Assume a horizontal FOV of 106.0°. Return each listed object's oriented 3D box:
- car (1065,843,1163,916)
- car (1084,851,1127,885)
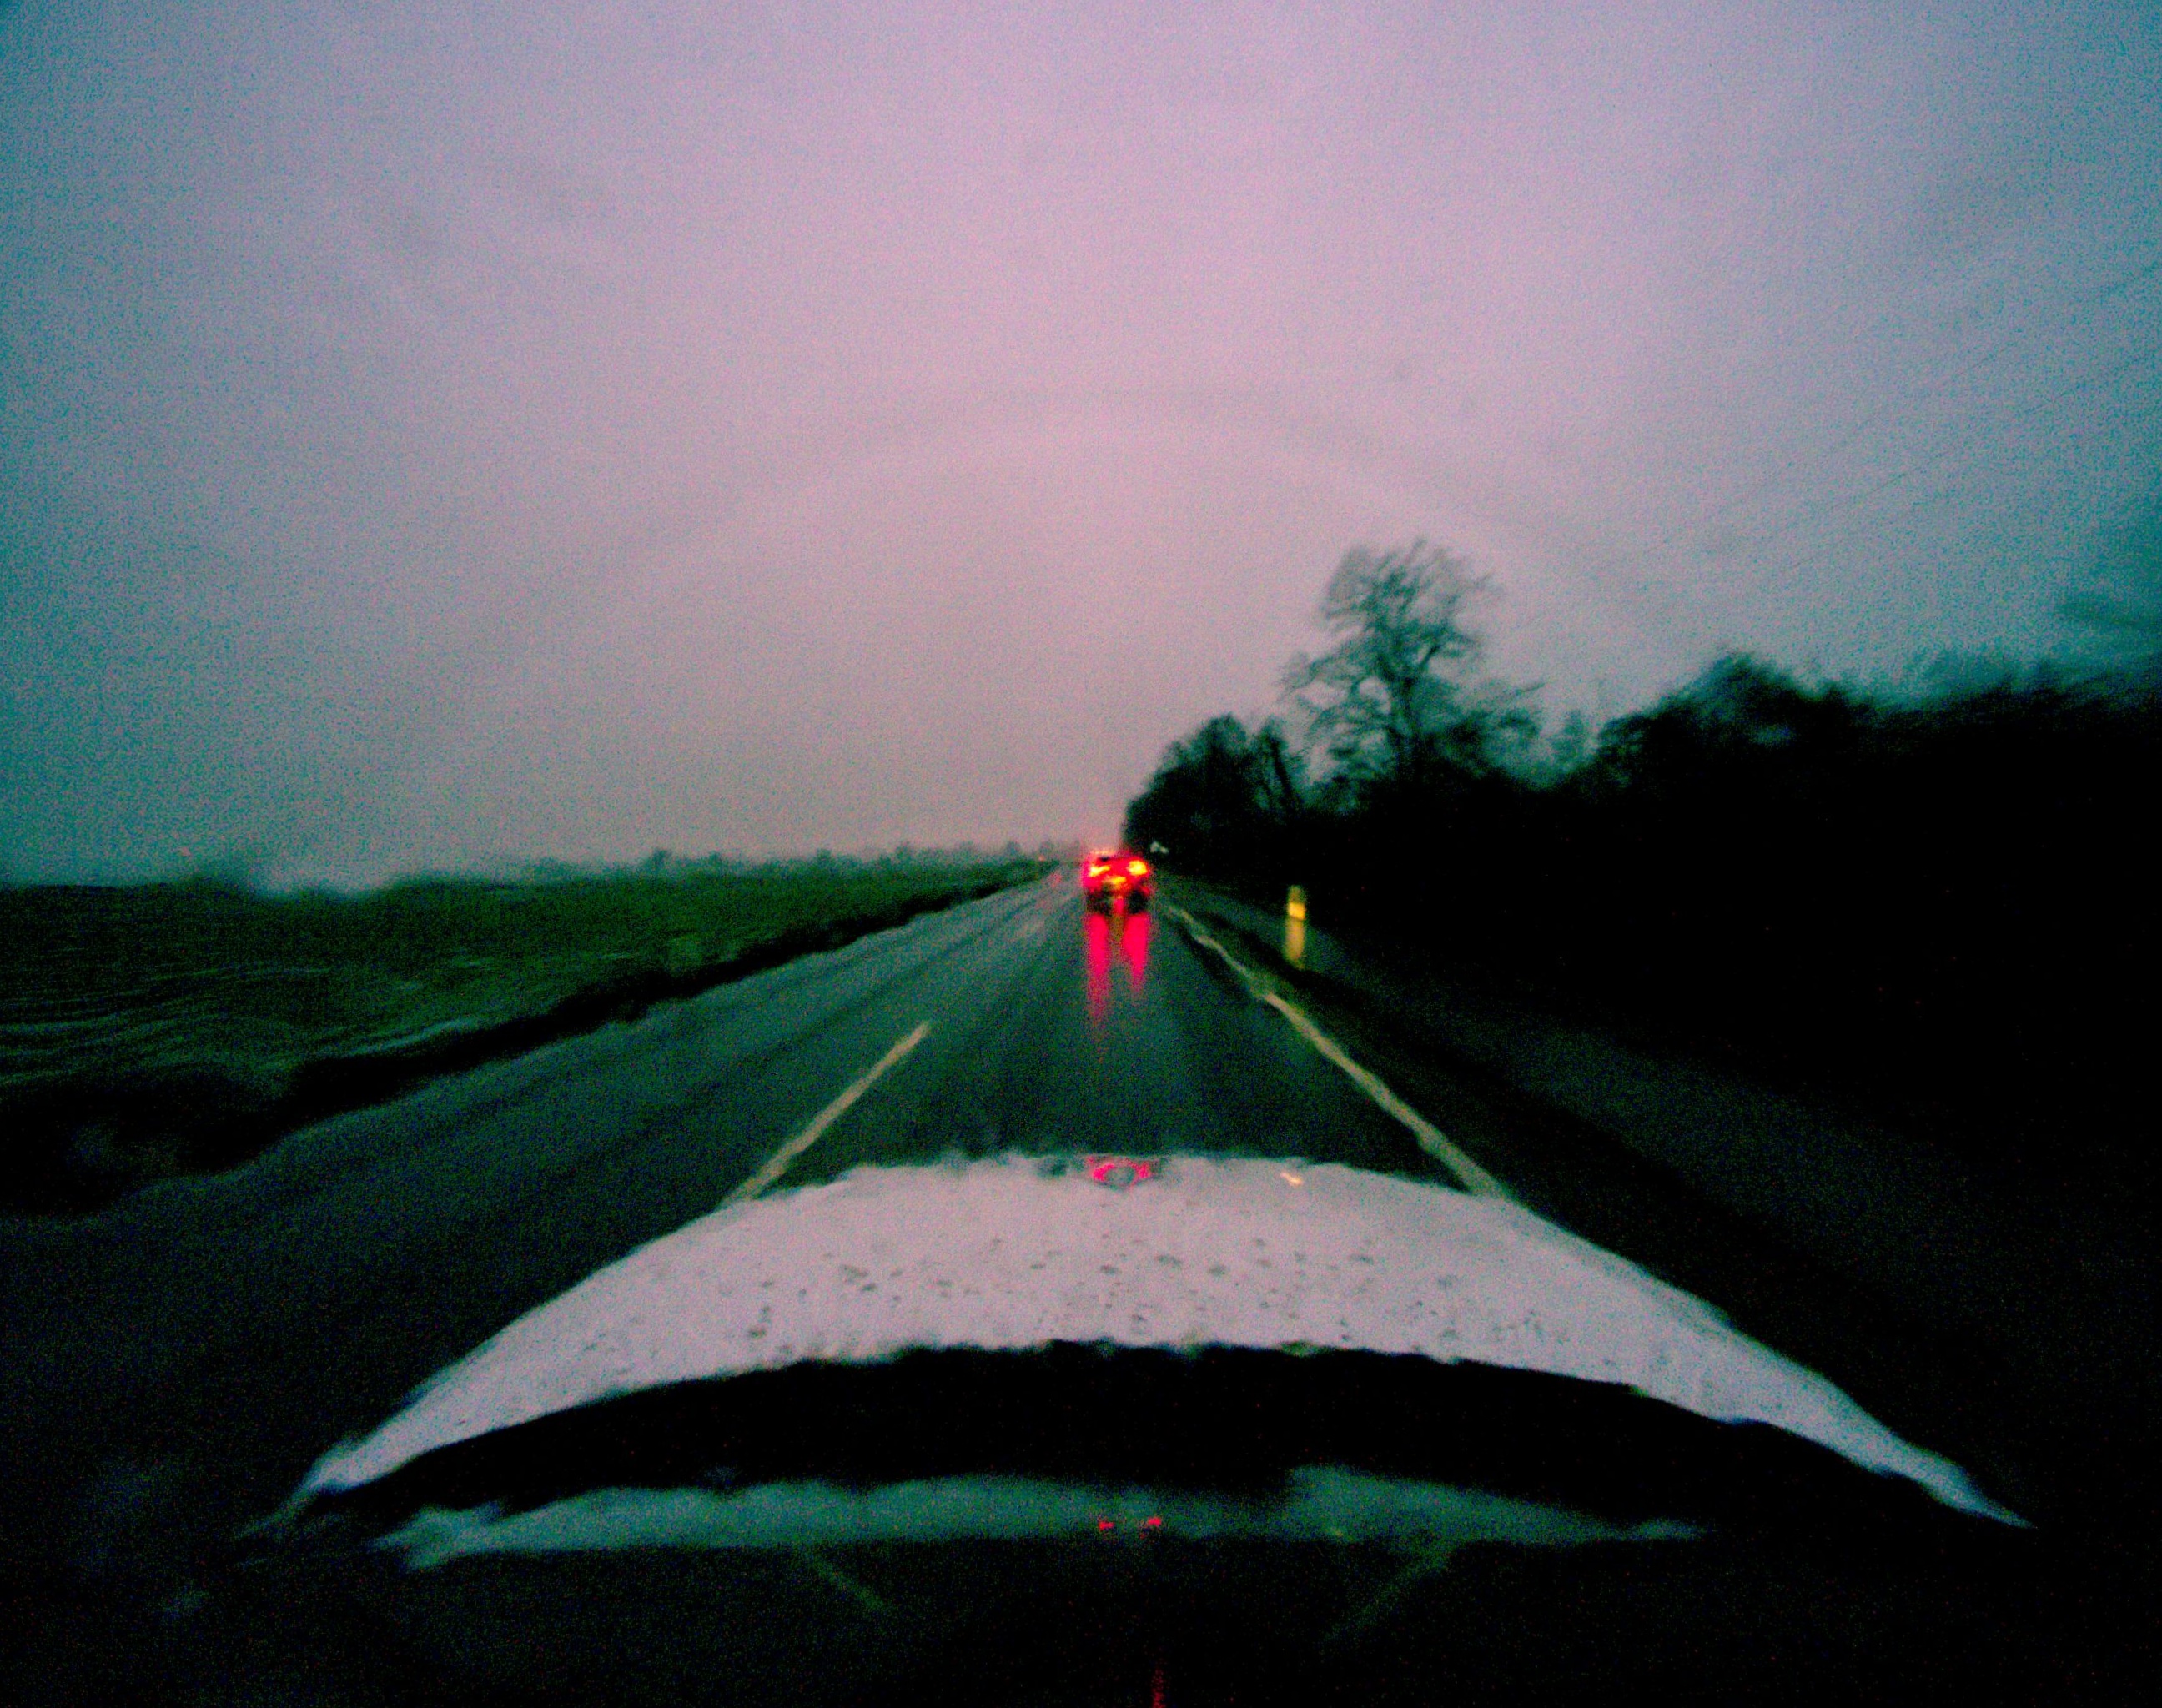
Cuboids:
[{"bbox_3d":[1.077,0.757,26.230,2.809,2.077,5.808,0,0,2],"label":"car"},{"bbox_3d":[1.584,0.862,51.183,2.581,2.014,5.808,0,0,3],"label":"car"}]
